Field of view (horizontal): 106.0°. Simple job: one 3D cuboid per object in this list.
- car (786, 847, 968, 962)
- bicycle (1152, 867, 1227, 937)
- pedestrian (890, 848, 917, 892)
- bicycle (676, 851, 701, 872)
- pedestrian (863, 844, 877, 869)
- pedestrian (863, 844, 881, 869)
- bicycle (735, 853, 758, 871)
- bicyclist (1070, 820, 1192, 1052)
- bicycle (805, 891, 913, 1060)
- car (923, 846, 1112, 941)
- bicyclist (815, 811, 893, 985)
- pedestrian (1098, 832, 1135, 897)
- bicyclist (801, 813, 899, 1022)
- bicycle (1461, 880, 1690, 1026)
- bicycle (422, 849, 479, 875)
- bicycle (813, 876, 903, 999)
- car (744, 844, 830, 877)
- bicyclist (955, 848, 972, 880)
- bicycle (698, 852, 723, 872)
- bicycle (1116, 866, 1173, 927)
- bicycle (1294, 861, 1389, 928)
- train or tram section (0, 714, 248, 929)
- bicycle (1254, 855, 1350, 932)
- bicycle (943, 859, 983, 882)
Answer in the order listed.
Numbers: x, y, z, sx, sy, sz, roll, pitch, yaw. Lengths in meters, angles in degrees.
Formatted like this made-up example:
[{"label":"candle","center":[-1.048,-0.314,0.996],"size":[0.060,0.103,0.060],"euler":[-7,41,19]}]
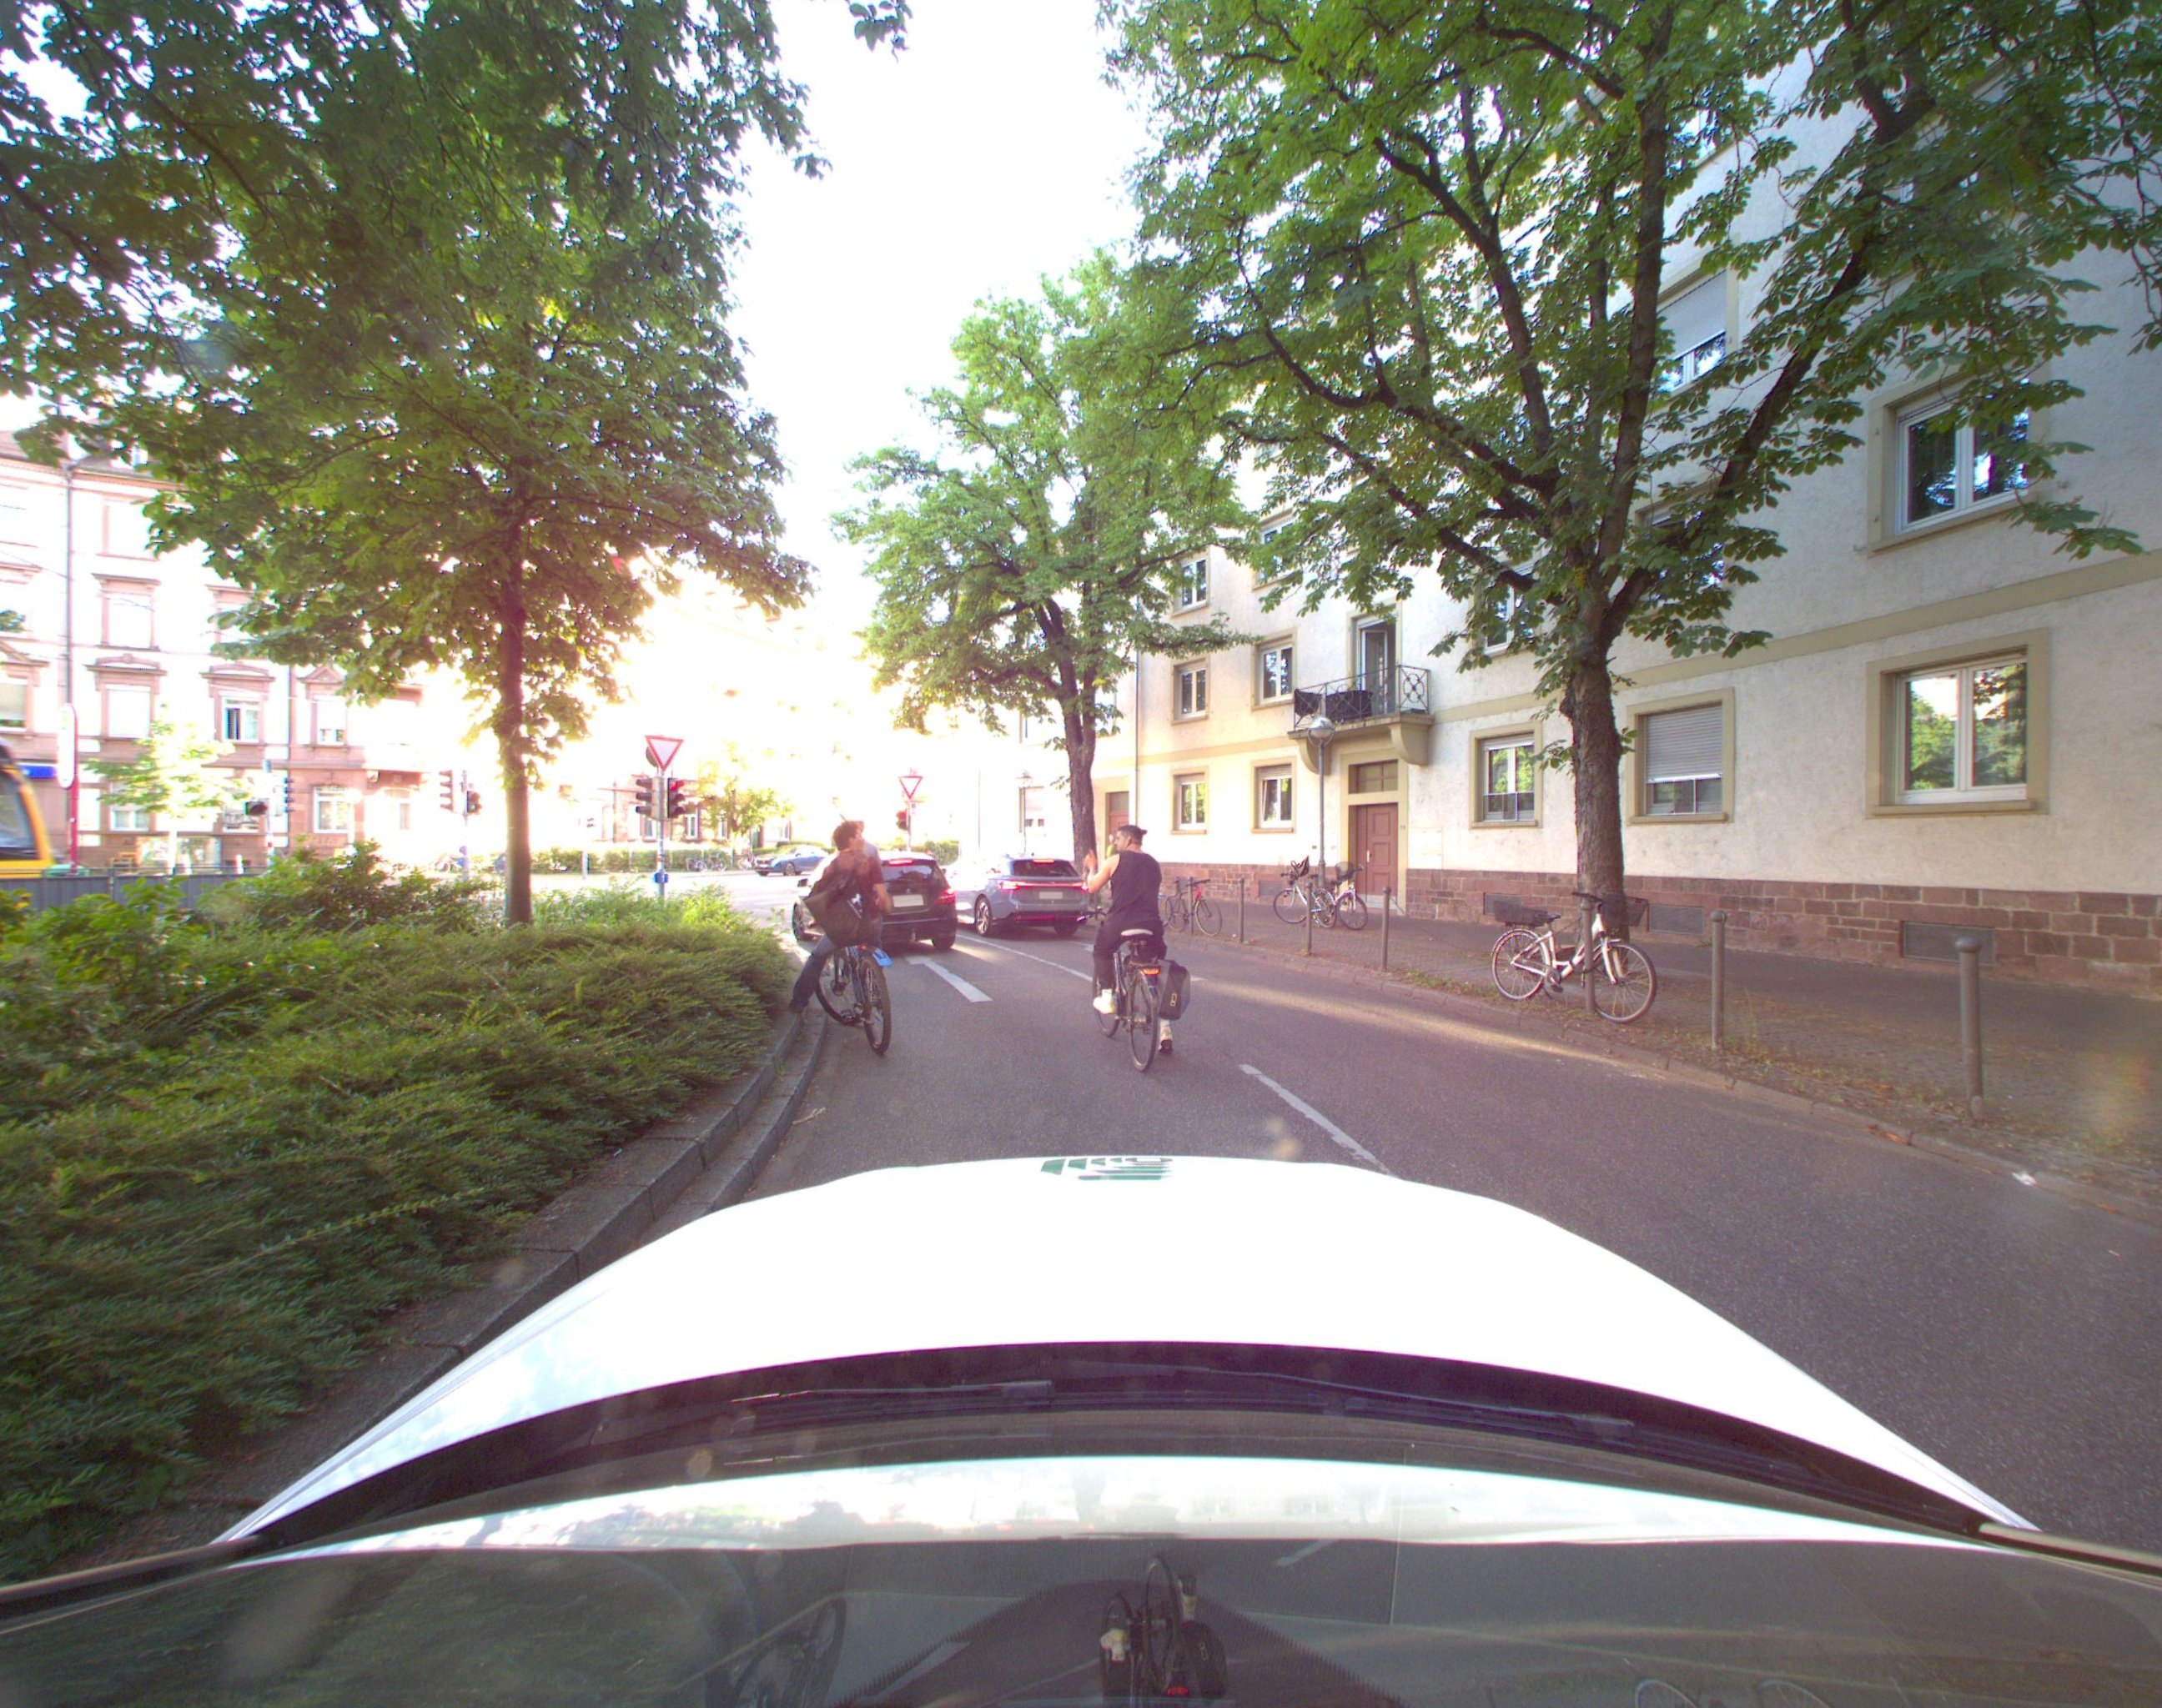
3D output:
[{"label":"car","center":[-3.482,0.691,13.383],"size":[1.802,1.542,3.821],"euler":[-2,1,-32]},{"label":"bicycle","center":[1.902,0.815,14.488],"size":[0.528,1.107,1.728],"euler":[-3,2,-21]},{"label":"pedestrian","center":[-6.729,0.606,30.863],"size":[0.904,1.635,0.721],"euler":[2,1,-19]},{"label":"bicycle","center":[-21.424,0.390,44.436],"size":[0.438,1.107,1.241],"euler":[1,1,25]},{"label":"pedestrian","center":[-14.832,0.169,57.227],"size":[0.655,1.715,0.640],"euler":[0,0,32]},{"label":"pedestrian","center":[-14.458,0.192,56.464],"size":[0.703,1.664,0.904],"euler":[4,2,36]},{"label":"bicycle","center":[-19.767,0.466,48.136],"size":[0.438,1.038,1.240],"euler":[1,1,24]},{"label":"bicyclist","center":[0.359,0.578,6.386],"size":[0.687,1.656,0.985],"euler":[-1,0,-13]},{"label":"bicycle","center":[-1.927,0.918,6.880],"size":[0.719,1.107,1.953],"euler":[1,0,-20]},{"label":"car","center":[-1.416,0.674,15.945],"size":[1.982,1.585,4.433],"euler":[2,-1,-29]},{"label":"bicyclist","center":[-2.685,0.485,9.579],"size":[0.797,1.913,0.938],"euler":[1,0,-21]},{"label":"pedestrian","center":[0.962,0.268,22.217],"size":[0.646,1.727,0.881],"euler":[-3,2,-25]},{"label":"bicyclist","center":[-1.923,0.475,6.706],"size":[0.709,1.573,0.951],"euler":[0,0,-19]},{"label":"bicycle","center":[4.499,0.836,7.609],"size":[0.514,1.095,1.962],"euler":[-2,1,-18]},{"label":"bicycle","center":[-28.126,0.371,36.376],"size":[1.975,1.107,0.438],"euler":[2,-1,-38]},{"label":"bicycle","center":[-2.661,0.886,9.522],"size":[0.813,1.184,2.211],"euler":[0,0,-21]},{"label":"car","center":[-15.680,0.323,43.653],"size":[1.926,1.650,4.432],"euler":[0,0,19]},{"label":"bicyclist","center":[-5.819,0.489,40.258],"size":[0.677,1.598,0.524],"euler":[0,0,-37]},{"label":"bicycle","center":[-20.797,0.421,45.725],"size":[0.438,1.107,1.241],"euler":[1,1,25]},{"label":"bicycle","center":[1.231,0.815,16.090],"size":[0.482,1.063,1.625],"euler":[-3,2,-20]},{"label":"bicycle","center":[4.714,0.706,14.906],"size":[0.669,1.107,1.955],"euler":[1,0,-17]},{"label":"train or tram section","center":[-20.416,-0.564,11.598],"size":[2.769,3.619,11.857],"euler":[1,0,19]},{"label":"bicycle","center":[4.004,0.666,14.907],"size":[0.719,1.277,1.954],"euler":[-1,1,-18]},{"label":"bicycle","center":[-5.821,0.794,40.260],"size":[1.975,1.107,0.530],"euler":[0,0,-37]}]
